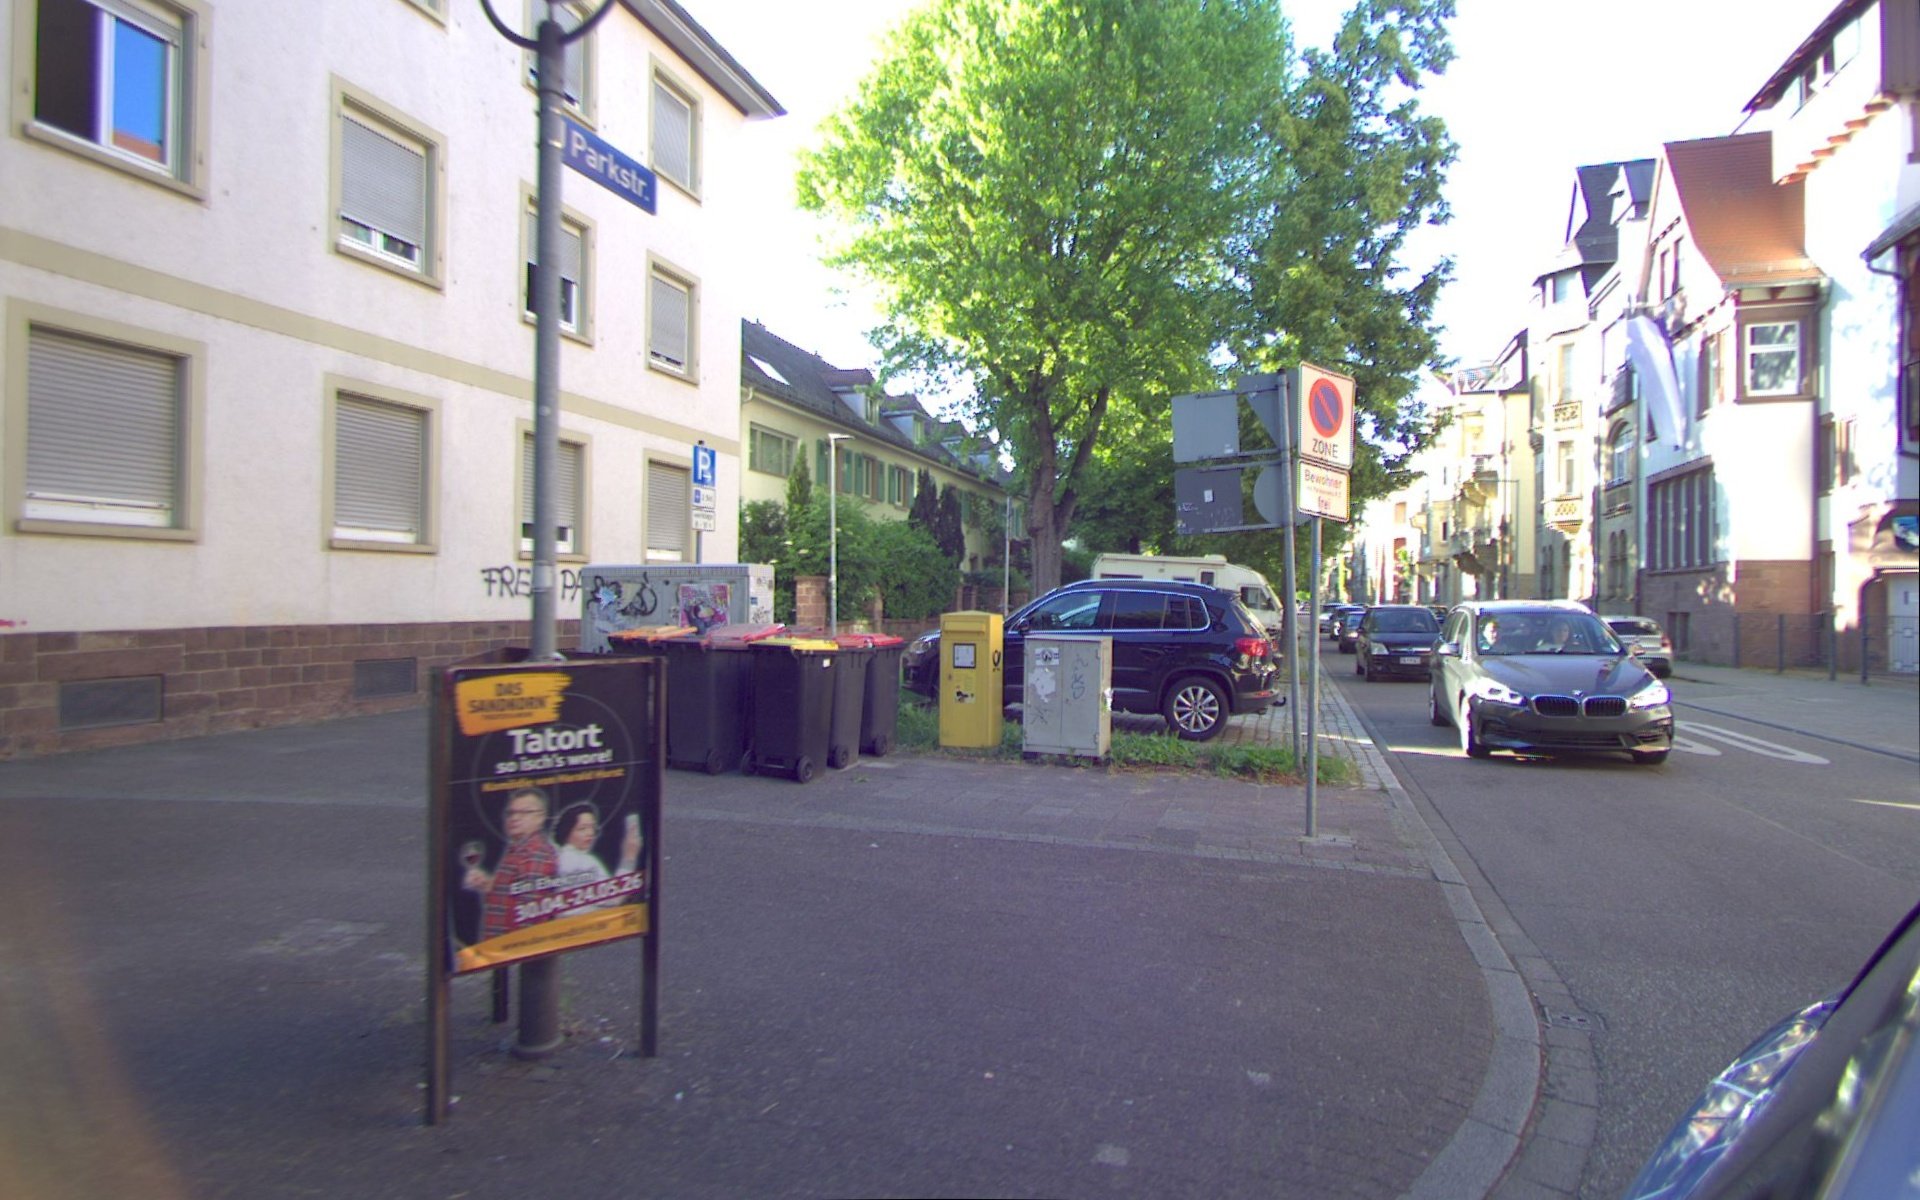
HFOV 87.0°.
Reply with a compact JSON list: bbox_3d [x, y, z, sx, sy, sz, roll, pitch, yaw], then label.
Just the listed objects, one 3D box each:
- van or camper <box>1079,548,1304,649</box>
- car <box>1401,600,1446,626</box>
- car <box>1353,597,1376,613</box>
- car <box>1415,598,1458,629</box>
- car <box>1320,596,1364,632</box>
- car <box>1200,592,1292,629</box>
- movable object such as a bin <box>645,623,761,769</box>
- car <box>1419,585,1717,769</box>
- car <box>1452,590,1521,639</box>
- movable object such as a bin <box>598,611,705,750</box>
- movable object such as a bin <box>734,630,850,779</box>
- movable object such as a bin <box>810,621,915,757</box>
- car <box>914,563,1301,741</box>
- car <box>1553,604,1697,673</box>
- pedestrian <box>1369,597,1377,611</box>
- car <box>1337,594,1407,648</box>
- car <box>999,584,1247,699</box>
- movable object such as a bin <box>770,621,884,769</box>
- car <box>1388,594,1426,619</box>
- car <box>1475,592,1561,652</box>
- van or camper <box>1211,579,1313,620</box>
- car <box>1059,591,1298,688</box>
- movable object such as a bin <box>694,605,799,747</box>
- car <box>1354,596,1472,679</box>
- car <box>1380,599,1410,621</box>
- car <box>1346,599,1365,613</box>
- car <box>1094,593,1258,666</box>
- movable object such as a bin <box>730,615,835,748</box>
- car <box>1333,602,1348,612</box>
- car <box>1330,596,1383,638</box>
[{"bbox_3d":[7.600,-0.076,33.463,7.001,3.116,2.452,1,0,17],"label":"van or camper"},{"bbox_3d":[28.319,0.781,61.924,1.881,1.457,4.515,-4,-1,18],"label":"car"},{"bbox_3d":[41.902,0.505,104.928,1.839,1.624,3.976,-2,-1,18],"label":"car"},{"bbox_3d":[25.269,0.720,53.732,1.667,1.528,2.843,-3,-1,19],"label":"car"},{"bbox_3d":[20.094,0.698,53.346,1.974,1.777,3.976,1,0,19],"label":"car"},{"bbox_3d":[14.207,0.513,50.300,4.289,1.628,1.917,2,1,18],"label":"car"},{"bbox_3d":[-2.056,0.738,8.136,0.622,1.089,0.701,0,0,19],"label":"movable object such as a bin"},{"bbox_3d":[6.491,0.705,11.403,1.900,1.627,4.489,-1,-1,19],"label":"car"},{"bbox_3d":[21.384,0.571,41.241,1.752,1.875,4.514,-1,0,18],"label":"car"},{"bbox_3d":[-2.592,0.652,8.535,0.585,1.097,0.670,0,0,18],"label":"movable object such as a bin"},{"bbox_3d":[-1.303,0.786,7.932,0.650,1.078,0.690,0,0,19],"label":"movable object such as a bin"},{"bbox_3d":[-0.886,0.786,9.331,0.730,1.167,0.711,0,0,20],"label":"movable object such as a bin"},{"bbox_3d":[1.712,0.517,11.752,4.060,1.734,2.014,2,-1,15],"label":"car"},{"bbox_3d":[15.831,0.866,24.335,1.725,1.485,4.081,0,0,16],"label":"car"},{"bbox_3d":[49.640,0.506,121.563,0.770,1.724,1.004,0,0,19],"label":"pedestrian"},{"bbox_3d":[14.301,0.685,35.326,1.974,1.777,3.976,0,0,19],"label":"car"},{"bbox_3d":[2.632,0.591,16.296,3.663,1.672,1.691,0,0,23],"label":"car"},{"bbox_3d":[-1.125,0.775,8.630,0.730,1.167,0.697,0,0,20],"label":"movable object such as a bin"},{"bbox_3d":[29.898,0.412,67.777,1.671,1.485,3.754,-4,-1,16],"label":"car"},{"bbox_3d":[19.107,0.707,34.846,1.780,1.931,4.298,-2,0,18],"label":"car"},{"bbox_3d":[22.507,-0.095,75.527,7.178,2.940,2.413,1,1,19],"label":"van or camper"},{"bbox_3d":[4.029,0.655,18.557,4.066,1.429,1.781,3,1,20],"label":"car"},{"bbox_3d":[-1.855,0.634,8.851,0.625,1.167,0.697,0,0,19],"label":"movable object such as a bin"},{"bbox_3d":[9.775,0.773,22.153,1.975,1.613,4.234,-2,-1,20],"label":"car"},{"bbox_3d":[31.989,0.727,74.512,1.726,1.484,3.973,-2,0,19],"label":"car"},{"bbox_3d":[46.913,0.700,120.028,1.898,1.538,3.976,0,0,18],"label":"car"},{"bbox_3d":[5.090,0.651,23.769,3.556,1.524,1.666,2,0,20],"label":"car"},{"bbox_3d":[-1.663,0.739,9.546,0.730,1.167,0.697,0,0,20],"label":"movable object such as a bin"},{"bbox_3d":[52.529,0.959,139.768,1.680,1.398,3.976,0,0,18],"label":"car"},{"bbox_3d":[17.626,0.719,45.106,1.974,1.777,3.976,1,0,19],"label":"car"}]
